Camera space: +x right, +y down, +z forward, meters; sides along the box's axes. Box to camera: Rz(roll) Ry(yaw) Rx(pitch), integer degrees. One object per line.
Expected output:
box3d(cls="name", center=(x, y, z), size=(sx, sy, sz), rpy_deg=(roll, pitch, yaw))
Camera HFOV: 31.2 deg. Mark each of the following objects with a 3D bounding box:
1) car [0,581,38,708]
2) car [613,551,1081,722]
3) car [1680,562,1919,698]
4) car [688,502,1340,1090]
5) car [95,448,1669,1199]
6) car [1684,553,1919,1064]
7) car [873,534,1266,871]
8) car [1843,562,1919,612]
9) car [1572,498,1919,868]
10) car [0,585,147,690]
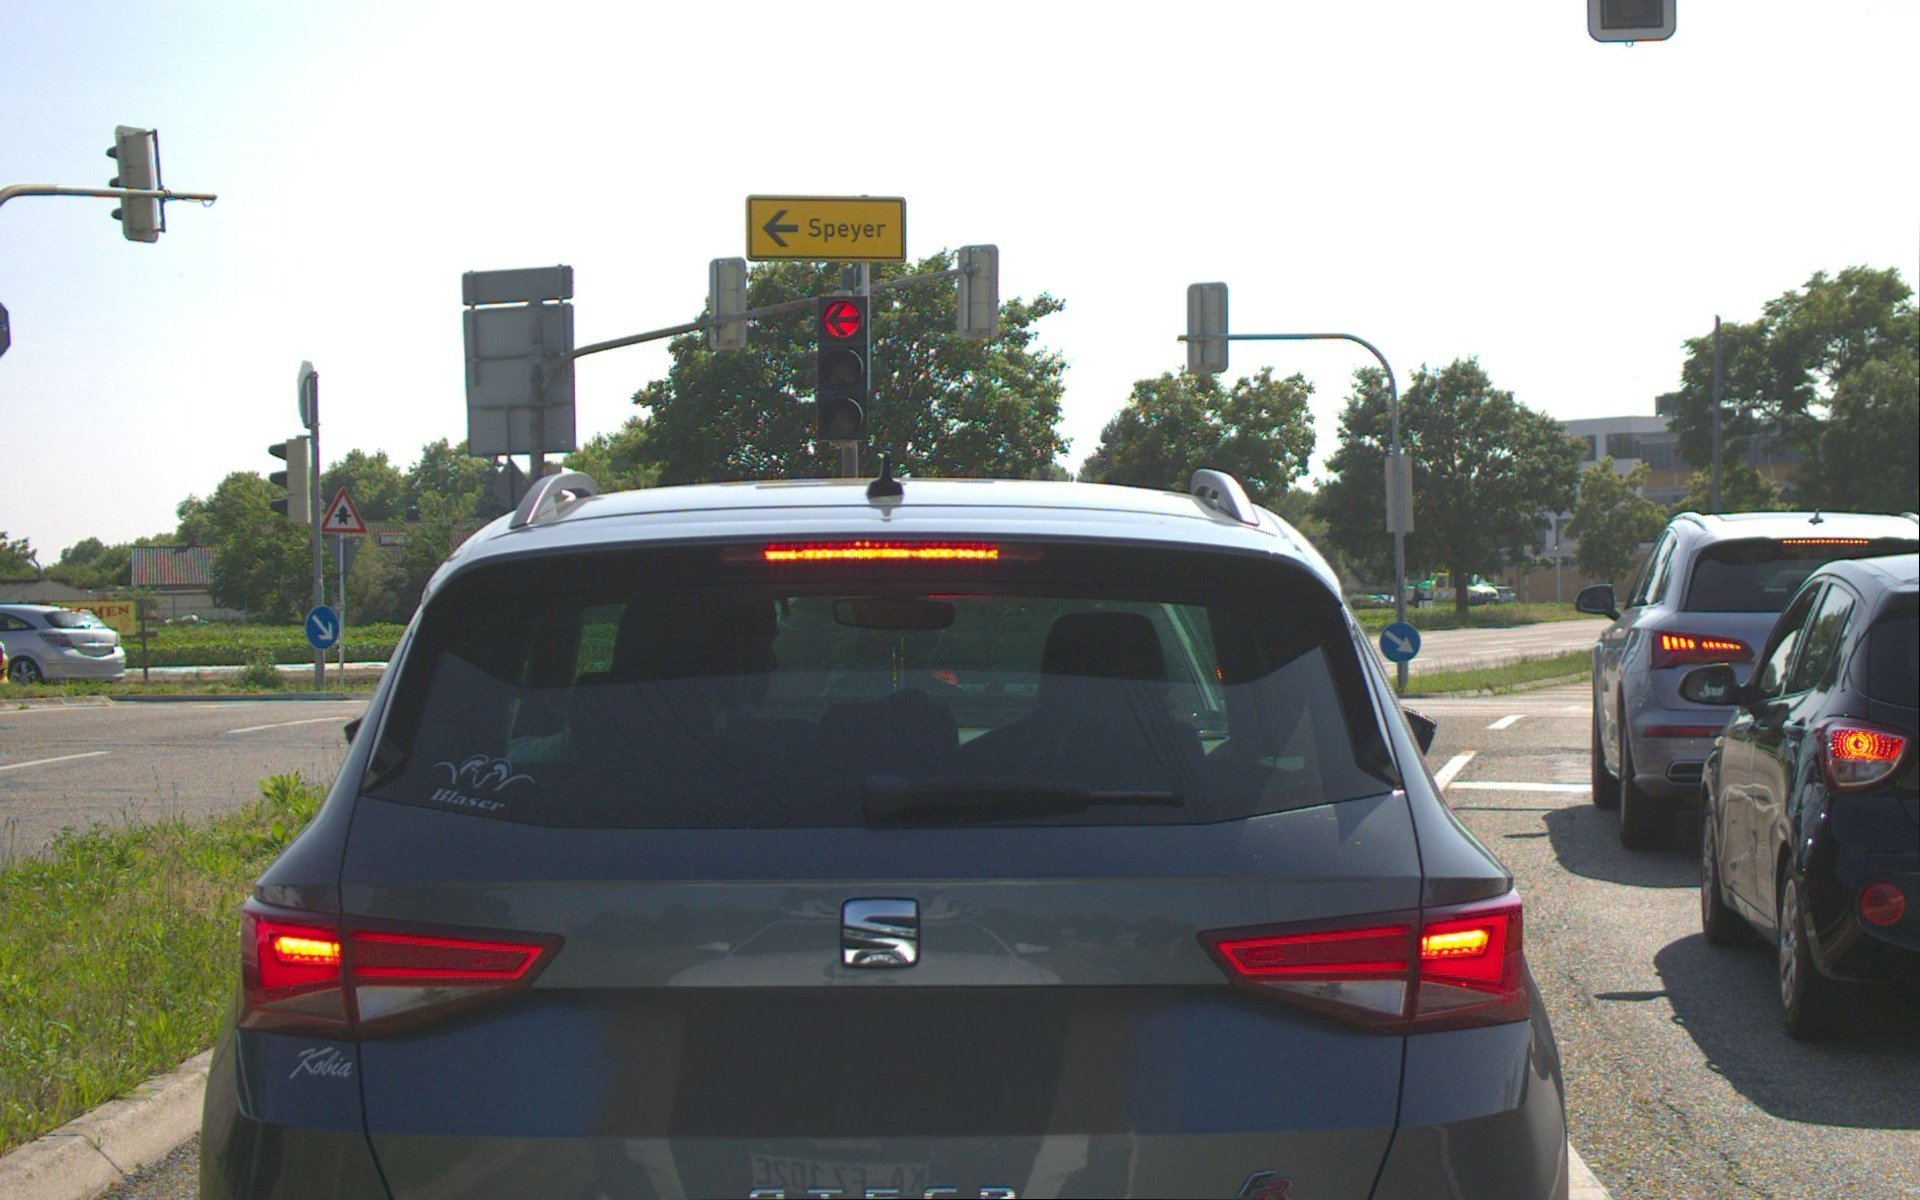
box3d(cls="car", center=(-14.375, 0.600, 45.547), size=(3.993, 1.645, 1.817), rpy_deg=(0, 0, 28))
box3d(cls="car", center=(-0.996, 0.290, 31.001), size=(3.900, 1.460, 1.723), rpy_deg=(0, 1, -34))
box3d(cls="car", center=(10.370, 0.329, 39.337), size=(3.872, 1.514, 1.805), rpy_deg=(0, 1, 24))
box3d(cls="car", center=(0.157, 0.515, 11.137), size=(1.742, 1.563, 3.624), rpy_deg=(1, 0, 0))
box3d(cls="car", center=(-0.113, 0.613, 5.651), size=(1.742, 1.563, 3.624), rpy_deg=(1, 0, -1))
box3d(cls="car", center=(3.387, 0.577, 11.326), size=(1.633, 1.443, 3.294), rpy_deg=(1, 1, 6))
box3d(cls="car", center=(0.640, 0.444, 17.258), size=(1.742, 1.479, 3.623), rpy_deg=(1, 0, 5))
box3d(cls="car", center=(30.010, -0.409, 111.076), size=(1.715, 1.543, 3.604), rpy_deg=(2, 1, 35))
box3d(cls="car", center=(4.087, 0.358, 17.554), size=(1.633, 1.671, 3.749), rpy_deg=(1, 1, 6))
box3d(cls="car", center=(-14.417, 0.560, 51.915), size=(3.873, 1.514, 1.805), rpy_deg=(0, 1, 26))
